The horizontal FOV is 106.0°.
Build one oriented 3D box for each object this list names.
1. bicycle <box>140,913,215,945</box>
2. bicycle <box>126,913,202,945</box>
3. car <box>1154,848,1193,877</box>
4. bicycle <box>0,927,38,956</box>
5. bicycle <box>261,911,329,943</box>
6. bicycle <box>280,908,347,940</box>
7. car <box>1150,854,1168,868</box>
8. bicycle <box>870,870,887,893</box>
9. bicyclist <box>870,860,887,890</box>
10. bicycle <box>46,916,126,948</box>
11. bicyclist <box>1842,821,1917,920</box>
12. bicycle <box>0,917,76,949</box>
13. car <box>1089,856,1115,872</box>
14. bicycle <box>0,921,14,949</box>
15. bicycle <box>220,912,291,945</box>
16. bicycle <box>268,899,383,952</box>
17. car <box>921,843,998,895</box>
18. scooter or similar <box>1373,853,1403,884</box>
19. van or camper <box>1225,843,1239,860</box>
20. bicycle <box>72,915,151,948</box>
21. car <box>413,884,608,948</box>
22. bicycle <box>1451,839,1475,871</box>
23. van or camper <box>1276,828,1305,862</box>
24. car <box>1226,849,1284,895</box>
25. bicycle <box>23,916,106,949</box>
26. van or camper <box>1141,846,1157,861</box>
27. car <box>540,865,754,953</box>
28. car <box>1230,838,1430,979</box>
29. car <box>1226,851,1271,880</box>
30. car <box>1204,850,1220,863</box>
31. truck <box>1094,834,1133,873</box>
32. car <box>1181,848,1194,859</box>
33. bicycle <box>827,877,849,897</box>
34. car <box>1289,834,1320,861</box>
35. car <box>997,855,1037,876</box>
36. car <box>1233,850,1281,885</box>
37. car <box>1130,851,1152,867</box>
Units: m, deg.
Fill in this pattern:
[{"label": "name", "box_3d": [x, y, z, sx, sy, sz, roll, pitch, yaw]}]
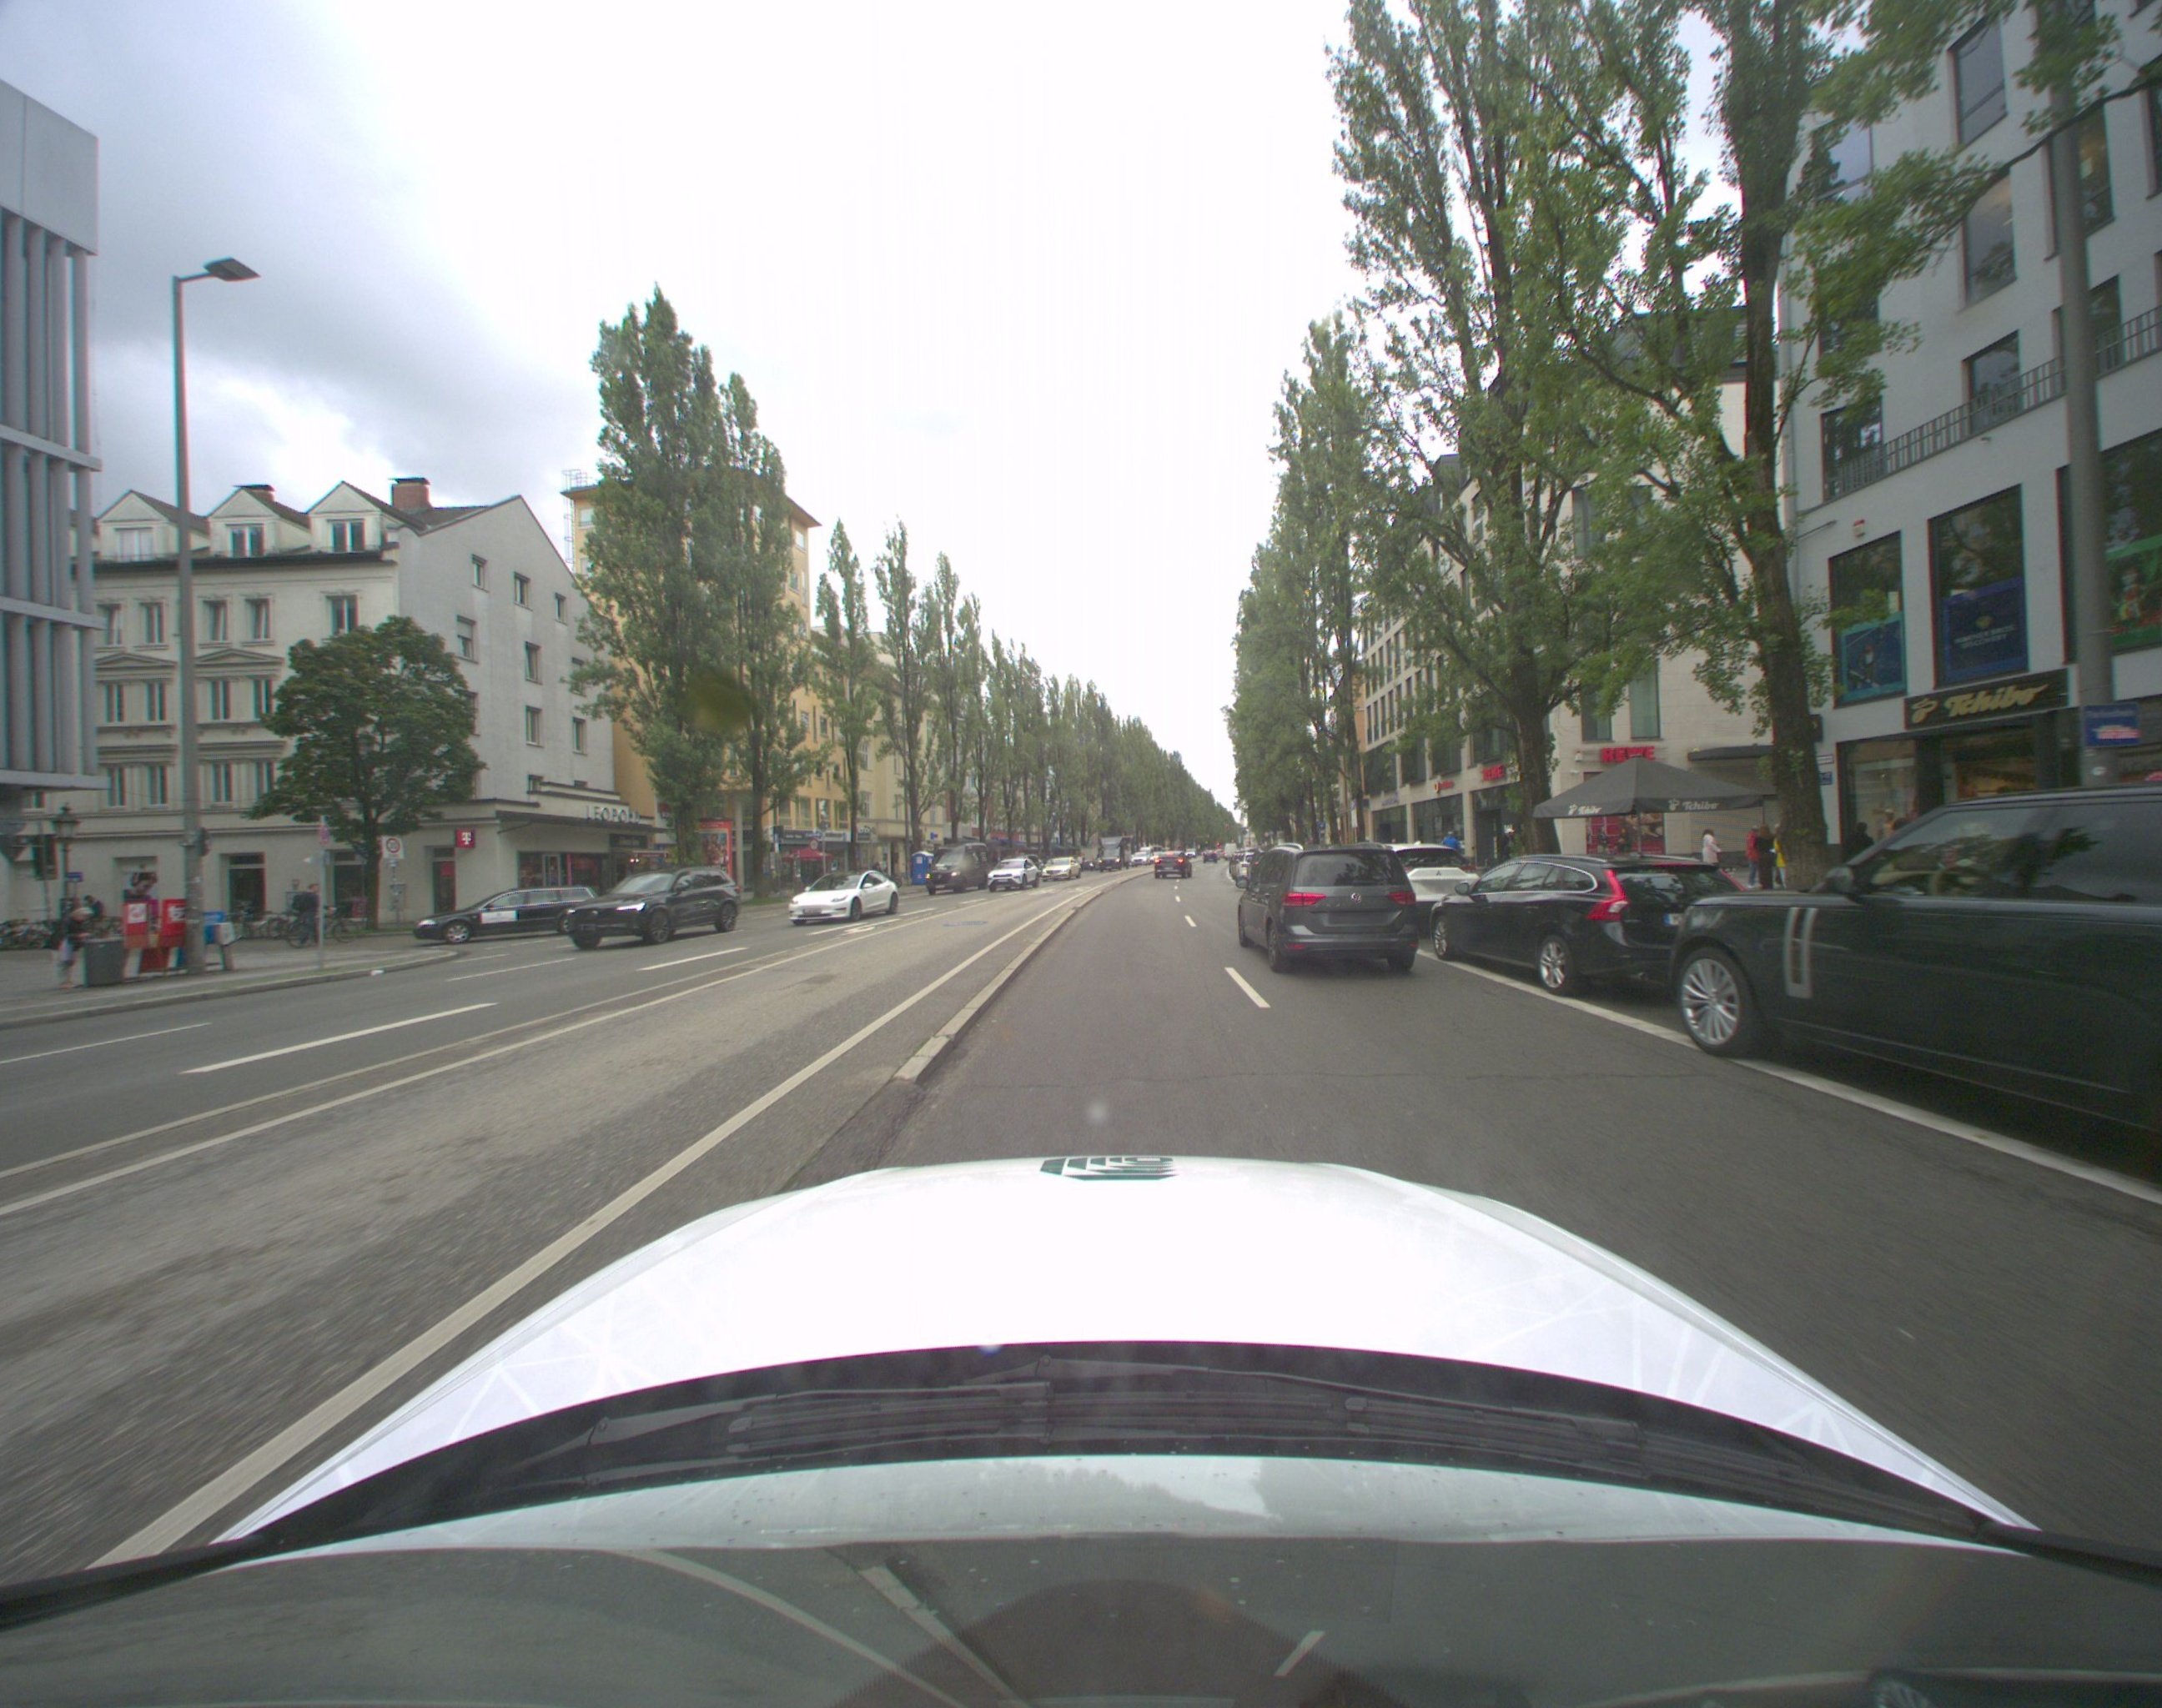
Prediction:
[{"label": "bicycle", "box_3d": [-32.354, 2.670, 29.198, 0.456, 0.964, 1.883, -2, 0, 5]}, {"label": "bicycle", "box_3d": [-32.872, 2.677, 29.243, 0.456, 0.964, 1.883, -2, 0, 5]}, {"label": "car", "box_3d": [5.677, 0.488, 49.589, 1.868, 1.642, 4.598, -3, 0, 12]}, {"label": "bicycle", "box_3d": [-38.881, 3.182, 29.181, 0.456, 0.964, 1.883, -2, 0, 5]}, {"label": "bicycle", "box_3d": [-28.108, 2.606, 29.176, 0.456, 0.964, 1.883, -2, 0, 5]}, {"label": "bicycle", "box_3d": [-27.506, 2.496, 29.215, 0.456, 0.964, 1.883, -2, 0, 5]}, {"label": "car", "box_3d": [10.629, 0.947, 110.834, 1.927, 1.642, 4.478, -3, 0, 11]}, {"label": "bicycle", "box_3d": [-11.141, 1.496, 44.889, 0.366, 1.201, 1.158, -2, 0, 13]}, {"label": "bicyclist", "box_3d": [-11.160, 1.132, 44.877, 0.499, 1.592, 0.837, -2, 0, 12]}, {"label": "bicycle", "box_3d": [-35.842, 2.789, 29.377, 0.456, 0.964, 1.883, -2, 0, 5]}, {"label": "bicyclist", "box_3d": [12.085, 0.247, 12.336, 0.636, 1.448, 0.440, -2, 0, 3]}, {"label": "bicycle", "box_3d": [-37.394, 2.808, 29.125, 0.456, 0.964, 1.883, -2, 0, 5]}, {"label": "car", "box_3d": [2.220, 1.004, 84.263, 1.927, 1.434, 4.552, -3, 0, 10]}, {"label": "bicycle", "box_3d": [-39.726, 2.982, 29.146, 0.456, 0.964, 1.883, -2, 0, 5]}, {"label": "bicycle", "box_3d": [-29.173, 2.617, 28.809, 0.456, 0.964, 1.883, -2, 0, 5]}, {"label": "bicycle", "box_3d": [-22.224, 2.087, 24.030, 0.839, 1.308, 2.315, -3, 0, 20]}, {"label": "car", "box_3d": [-6.500, 0.748, 44.534, 2.156, 2.605, 6.082, -3, 0, 11]}, {"label": "scooter or similar", "box_3d": [12.504, 0.591, 33.210, 1.046, 1.226, 0.380, -3, 0, 3]}, {"label": "van or camper", "box_3d": [23.092, -0.333, 124.430, 2.021, 2.475, 4.013, -2, -2, 12]}, {"label": "bicycle", "box_3d": [-34.861, 2.775, 29.313, 0.456, 0.964, 1.883, -2, 0, 5]}, {"label": "car", "box_3d": [-16.750, 1.758, 24.073, 4.530, 1.439, 1.906, -3, 0, -39]}, {"label": "bicycle", "box_3d": [14.912, 0.028, 31.789, 0.447, 1.172, 1.775, -3, 0, 13]}, {"label": "van or camper", "box_3d": [20.200, -0.862, 78.860, 2.443, 3.112, 4.732, -3, 0, 13]}, {"label": "car", "box_3d": [6.838, 0.690, 32.451, 1.914, 1.700, 4.660, -1, -1, 8]}, {"label": "bicycle", "box_3d": [-36.489, 2.797, 29.271, 0.456, 0.964, 1.883, -2, 0, 5]}, {"label": "van or camper", "box_3d": [11.590, -0.067, 138.439, 1.980, 2.458, 4.265, -2, 0, 12]}, {"label": "car", "box_3d": [-10.294, 1.225, 19.896, 2.007, 1.716, 4.993, -3, 0, 7]}, {"label": "car", "box_3d": [3.307, 0.642, 11.675, 1.754, 1.613, 4.187, -1, 0, 3]}, {"label": "car", "box_3d": [9.062, 0.588, 44.461, 1.921, 1.450, 4.813, -3, 0, 6]}, {"label": "car", "box_3d": [16.398, 0.309, 101.830, 1.747, 1.619, 3.759, -1, -1, 12]}, {"label": "truck", "box_3d": [3.134, -0.088, 76.664, 2.276, 3.322, 7.180, -3, 0, 12]}, {"label": "car", "box_3d": [21.027, -0.053, 161.567, 1.987, 2.014, 3.998, -1, -1, -1]}, {"label": "bicycle", "box_3d": [-13.236, 1.778, 44.414, 0.456, 0.964, 1.883, -2, 0, 5]}, {"label": "car", "box_3d": [20.153, -0.614, 73.217, 1.884, 2.328, 4.852, -3, 0, 24]}, {"label": "car", "box_3d": [-5.044, 0.876, 65.168, 1.926, 1.493, 4.311, -2, 0, 13]}, {"label": "car", "box_3d": [8.250, 0.585, 38.464, 1.800, 1.500, 4.817, -3, 0, 8]}, {"label": "car", "box_3d": [6.902, 0.575, 93.233, 1.848, 1.711, 4.551, -3, 0, 12]}]
